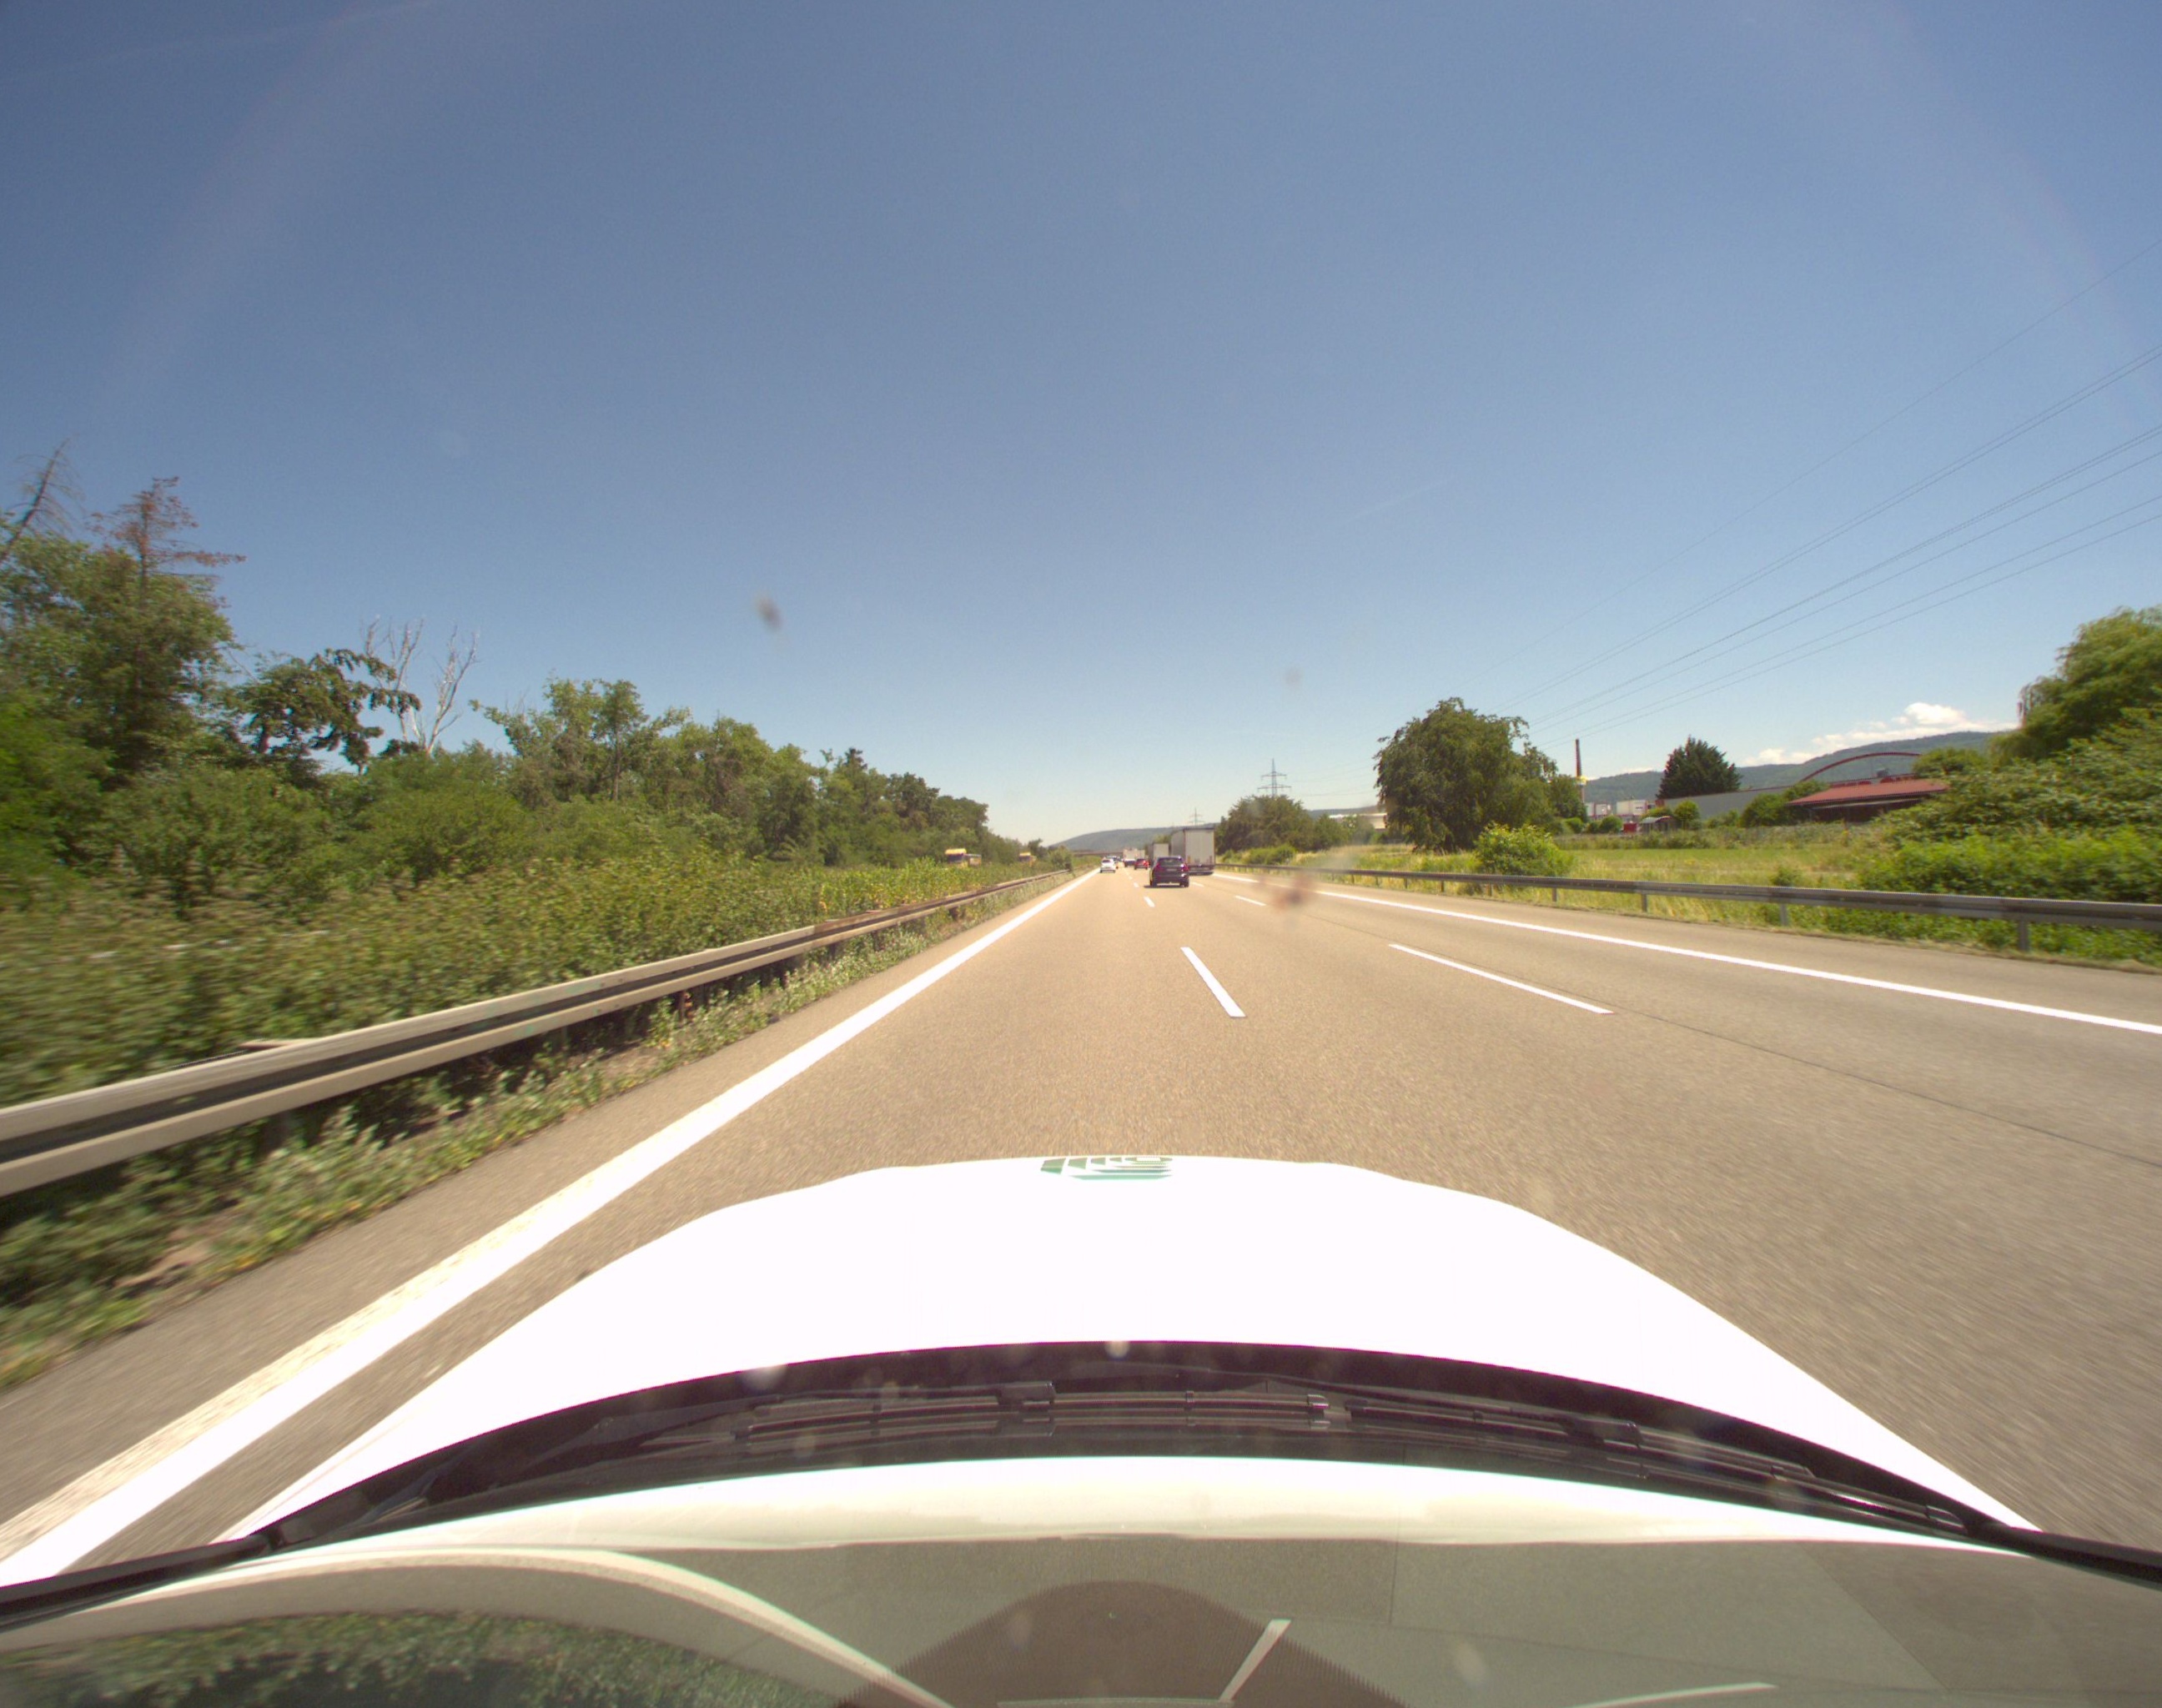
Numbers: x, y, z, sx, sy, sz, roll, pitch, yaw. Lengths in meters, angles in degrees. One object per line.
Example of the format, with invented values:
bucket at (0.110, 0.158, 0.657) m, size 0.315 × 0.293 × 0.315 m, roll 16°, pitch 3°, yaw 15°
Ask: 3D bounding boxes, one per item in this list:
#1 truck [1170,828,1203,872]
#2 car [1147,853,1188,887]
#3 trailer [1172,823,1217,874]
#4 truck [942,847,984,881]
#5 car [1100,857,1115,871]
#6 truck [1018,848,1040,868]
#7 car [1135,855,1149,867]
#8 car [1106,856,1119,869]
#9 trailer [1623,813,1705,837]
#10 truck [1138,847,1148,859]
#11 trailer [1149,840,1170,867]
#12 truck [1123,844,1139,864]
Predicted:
truck at (10.395, -0.335, 80.706) m, size 2.725 × 4.120 × 6.128 m, roll -1°, pitch -1°, yaw 2°
car at (4.527, 0.815, 42.944) m, size 1.866 × 1.623 × 4.006 m, roll -1°, pitch 0°, yaw 2°
trailer at (10.083, -0.386, 73.502) m, size 2.725 × 4.107 × 13.129 m, roll -1°, pitch 0°, yaw 3°
truck at (-13.697, 1.137, 95.922) m, size 2.528 × 3.634 × 11.851 m, roll -4°, pitch -1°, yaw 2°
car at (2.915, 1.064, 90.158) m, size 1.601 × 1.468 × 4.002 m, roll -2°, pitch 0°, yaw 2°
truck at (-10.282, 0.794, 162.406) m, size 2.888 × 3.706 × 11.905 m, roll -4°, pitch 0°, yaw 2°
car at (8.190, 0.986, 109.167) m, size 1.796 × 1.545 × 4.002 m, roll -1°, pitch -1°, yaw 3°
car at (4.729, 1.295, 122.127) m, size 1.754 × 1.850 × 4.002 m, roll -2°, pitch 0°, yaw 2°
trailer at (72.607, -3.581, 101.495) m, size 7.873 × 2.381 × 2.982 m, roll -3°, pitch 0°, yaw 3°
truck at (17.027, -0.197, 225.072) m, size 2.212 × 3.209 × 10.390 m, roll -2°, pitch 0°, yaw 3°
trailer at (13.105, -0.058, 136.503) m, size 2.777 × 4.164 × 13.584 m, roll -3°, pitch -1°, yaw 3°
truck at (8.839, 0.003, 144.799) m, size 2.771 × 3.373 × 8.132 m, roll -1°, pitch -1°, yaw 2°
